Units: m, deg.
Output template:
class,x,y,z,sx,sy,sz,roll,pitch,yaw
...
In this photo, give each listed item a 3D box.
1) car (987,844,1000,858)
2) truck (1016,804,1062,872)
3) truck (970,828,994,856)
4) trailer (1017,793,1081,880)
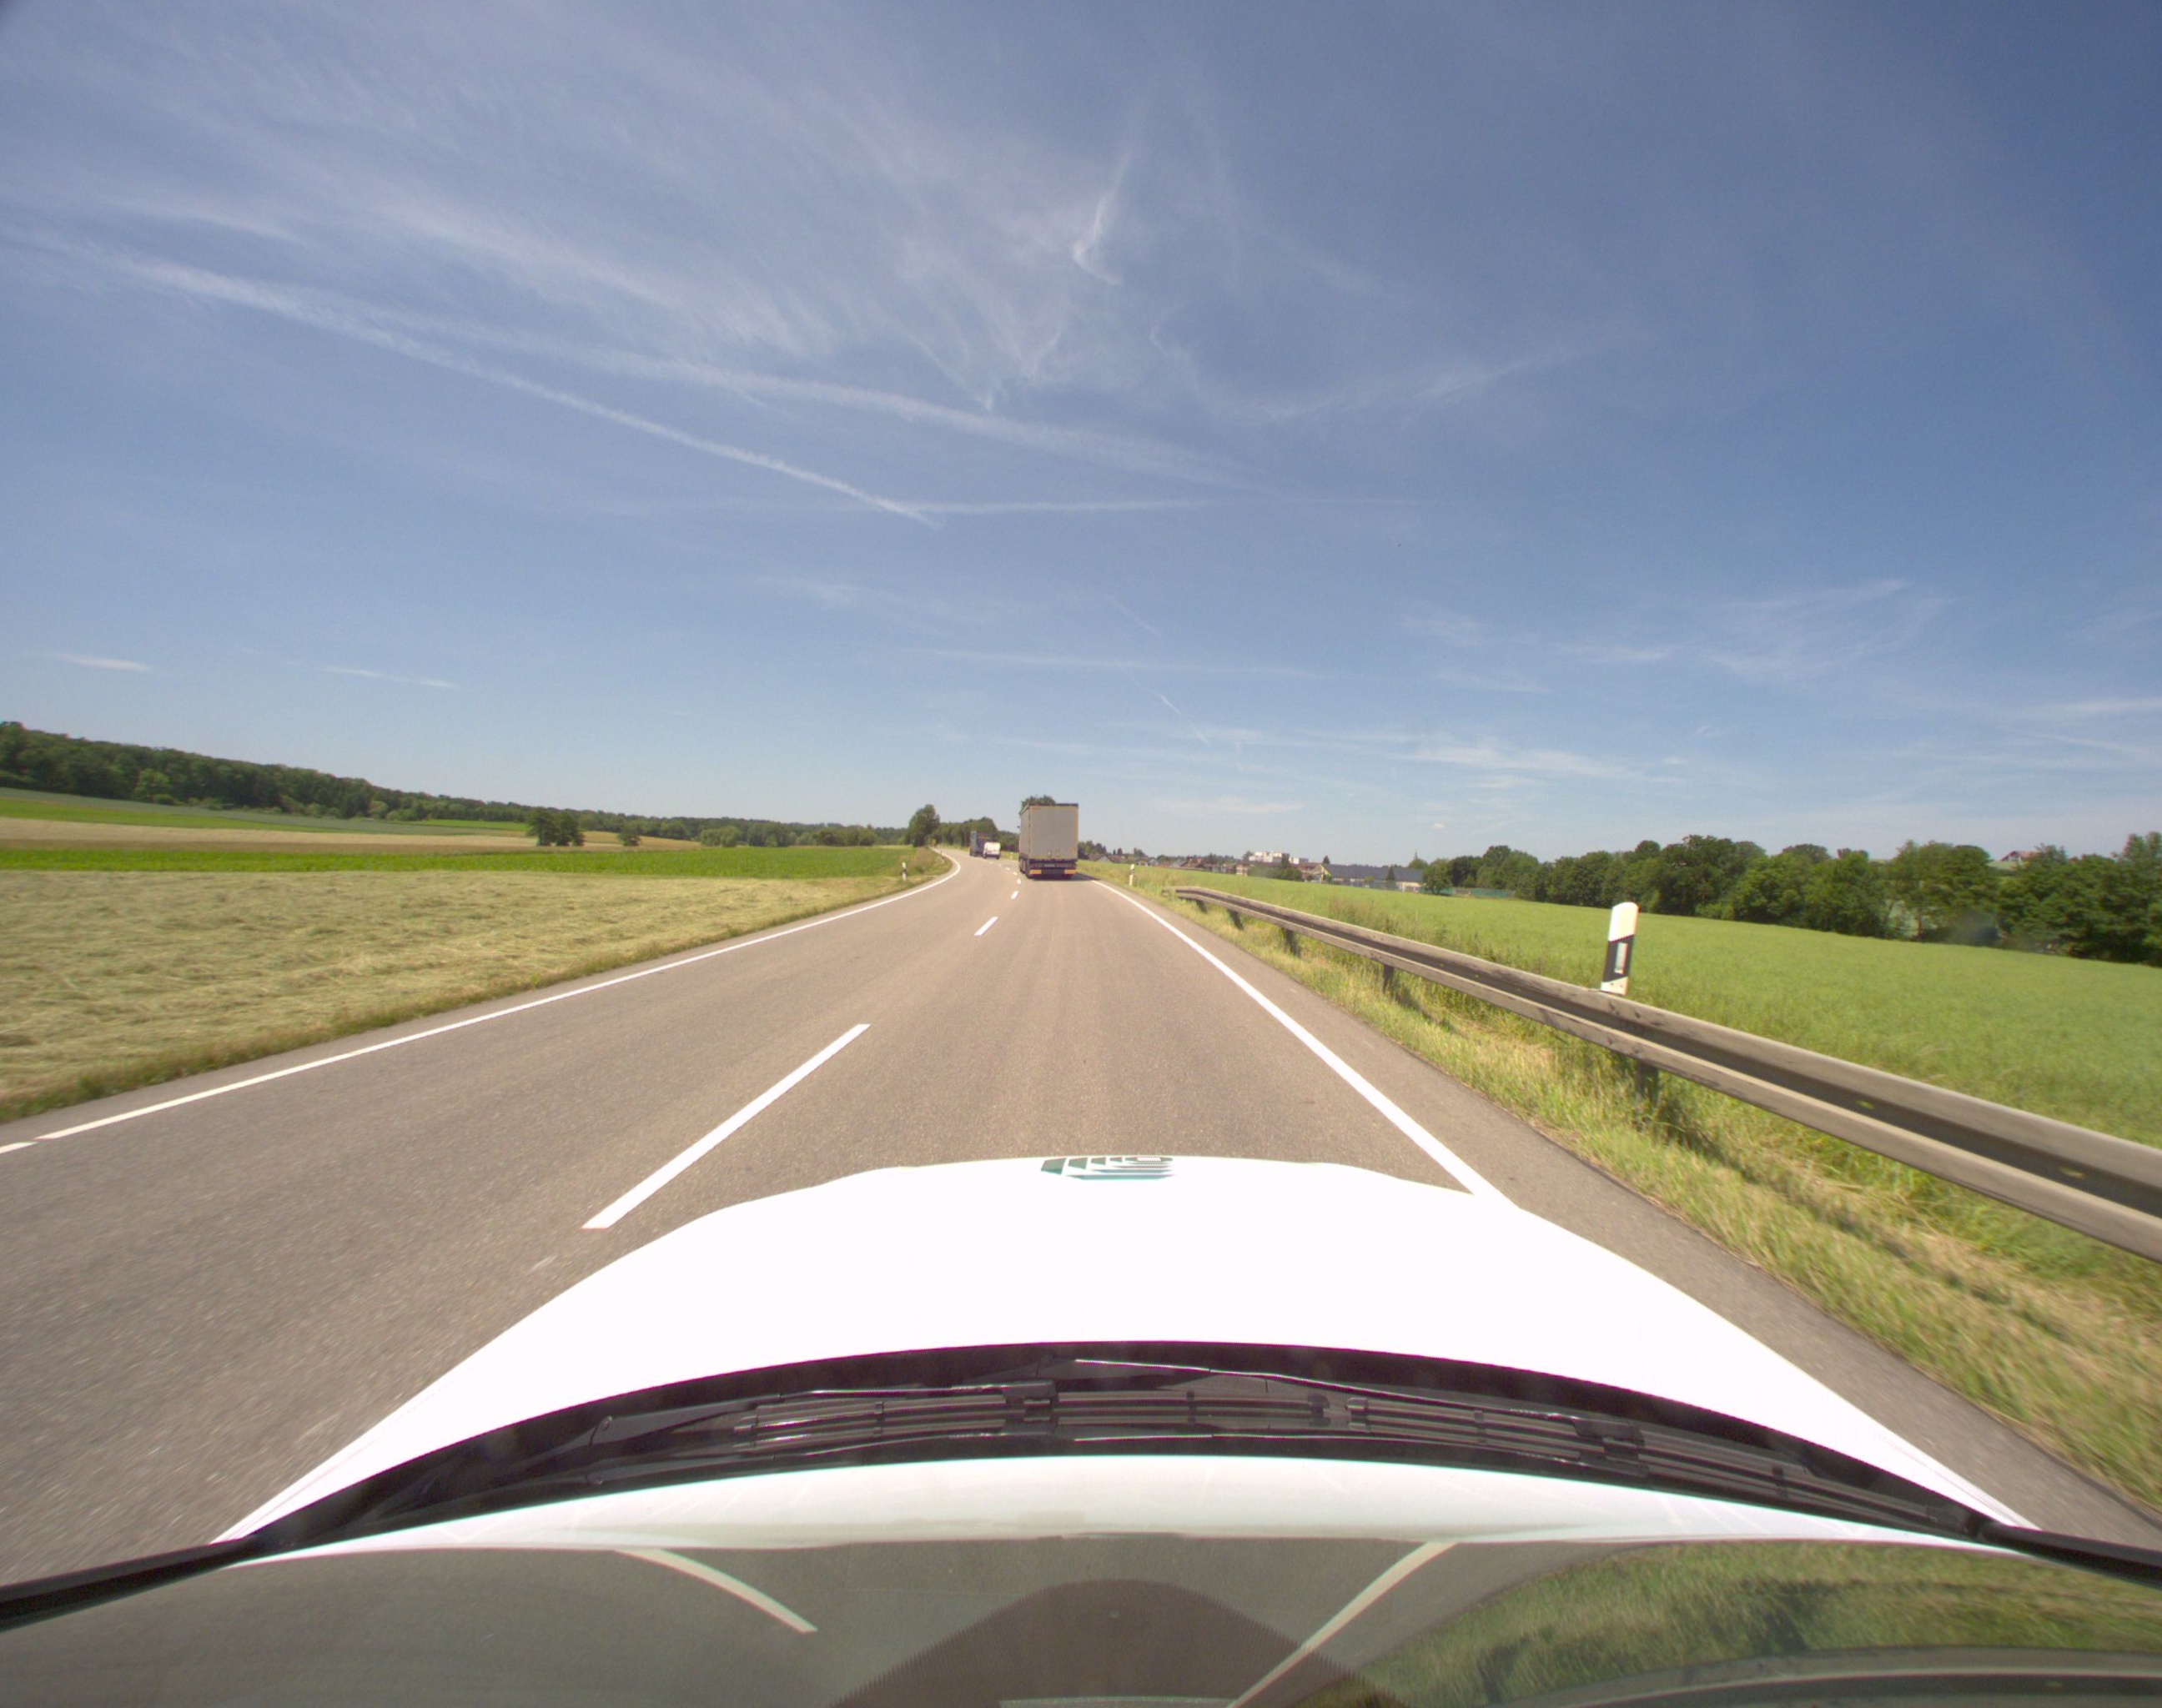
class,x,y,z,sx,sy,sz,roll,pitch,yaw
car,-12.072,-0.404,112.545,1.722,1.872,3.994,1,0,-4
truck,-2.901,-1.047,54.978,2.856,4.400,5.060,0,0,-6
truck,-16.634,-1.963,137.075,3.546,4.392,18.077,2,0,-7
trailer,-2.128,-0.966,48.055,2.863,4.400,13.464,0,1,-6
